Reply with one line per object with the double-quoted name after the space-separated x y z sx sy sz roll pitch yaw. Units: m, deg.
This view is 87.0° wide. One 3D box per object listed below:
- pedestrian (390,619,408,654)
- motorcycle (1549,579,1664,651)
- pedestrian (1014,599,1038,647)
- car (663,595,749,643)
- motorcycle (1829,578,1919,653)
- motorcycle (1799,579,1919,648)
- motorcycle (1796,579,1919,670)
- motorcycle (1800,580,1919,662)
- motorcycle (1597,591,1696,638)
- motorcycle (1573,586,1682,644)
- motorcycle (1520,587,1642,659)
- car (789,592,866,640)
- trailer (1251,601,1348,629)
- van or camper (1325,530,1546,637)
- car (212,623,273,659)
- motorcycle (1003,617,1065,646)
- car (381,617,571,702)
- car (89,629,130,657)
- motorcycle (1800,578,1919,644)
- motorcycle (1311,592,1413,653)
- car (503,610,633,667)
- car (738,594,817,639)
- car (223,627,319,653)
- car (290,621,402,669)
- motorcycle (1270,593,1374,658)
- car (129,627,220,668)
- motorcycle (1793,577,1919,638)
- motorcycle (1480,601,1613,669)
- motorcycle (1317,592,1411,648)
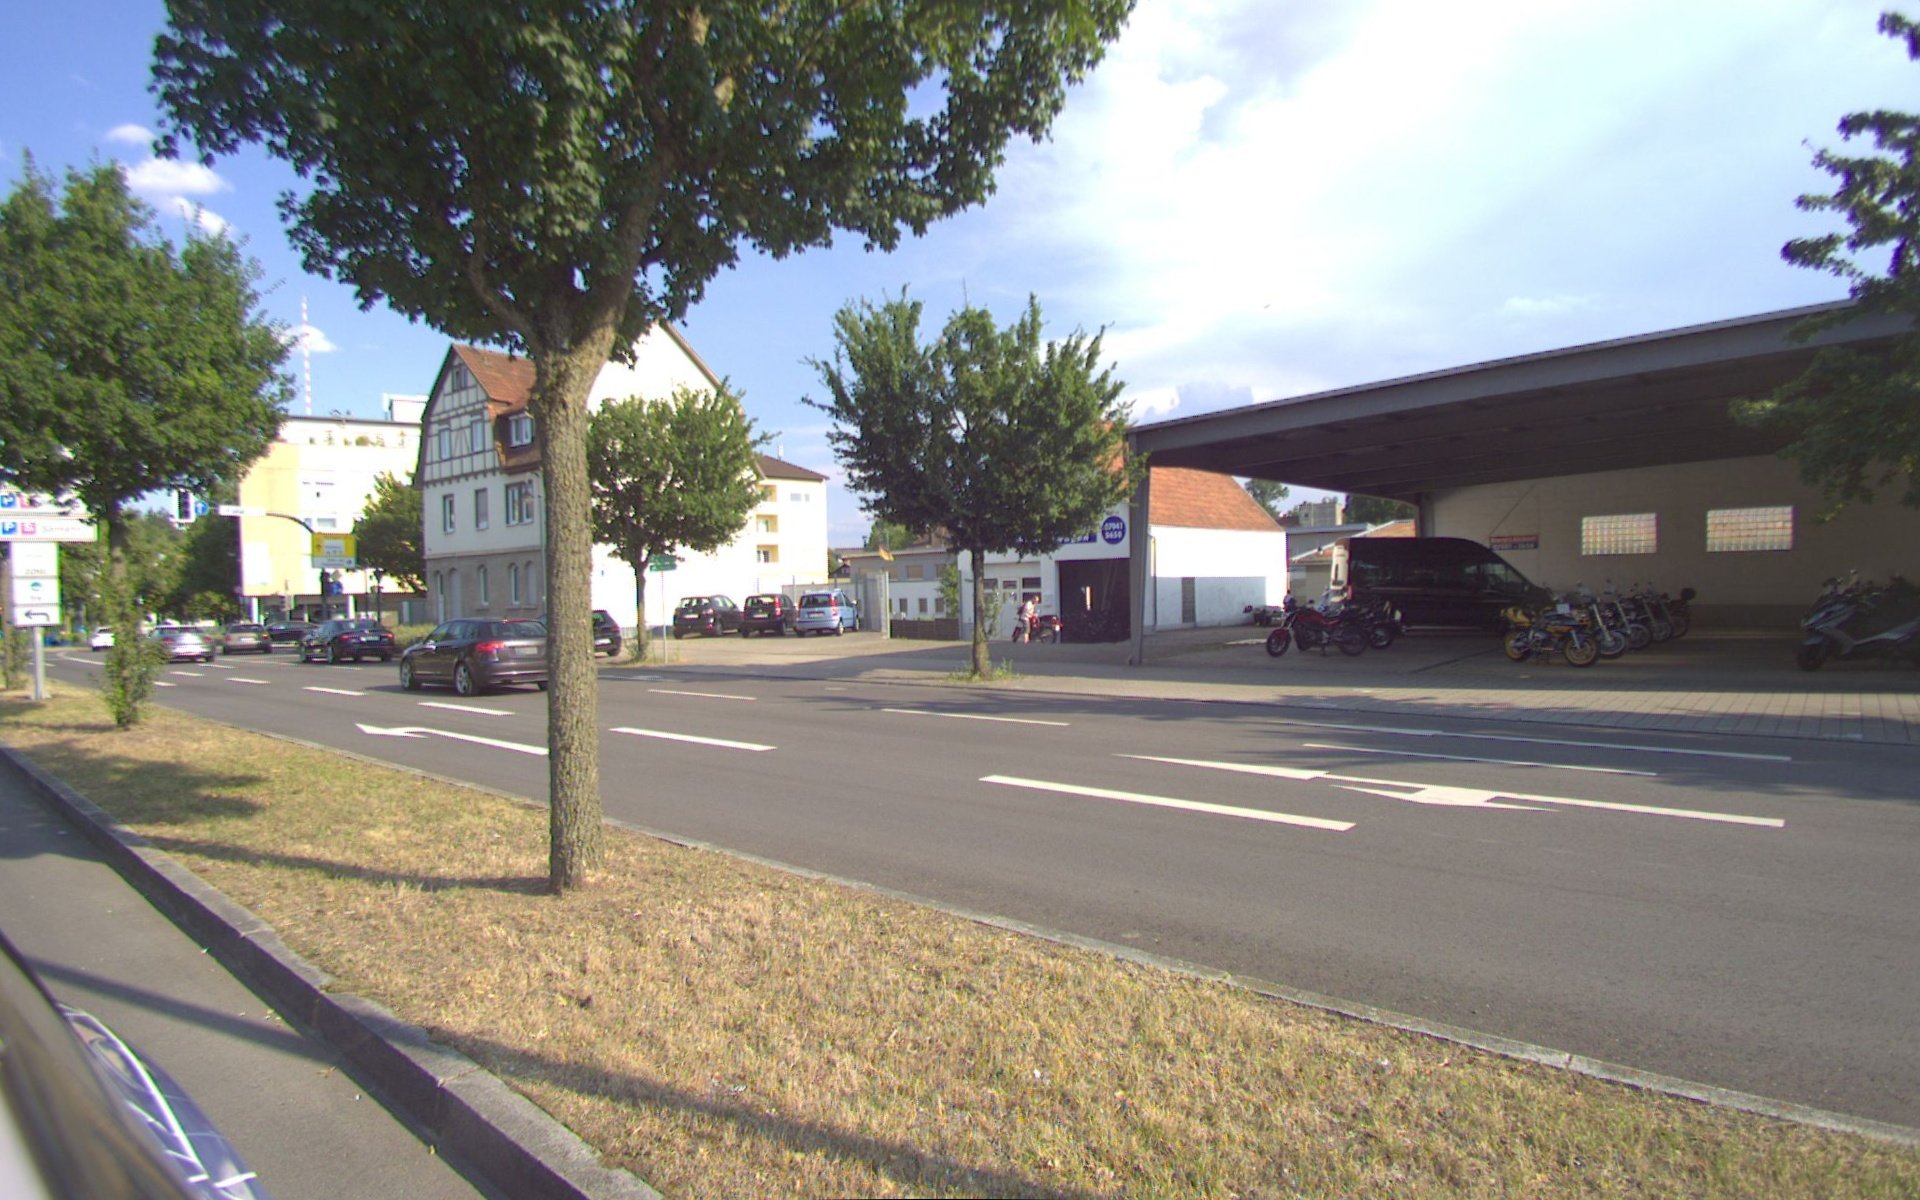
-32.067 2.083 57.878 0.696 1.997 0.583 -1 0 25 "pedestrian"
13.798 0.305 21.695 0.584 1.459 2.161 -1 0 -19 "motorcycle"
2.145 0.725 32.814 0.647 1.535 0.671 -1 0 13 "pedestrian"
-9.400 0.661 37.737 1.747 1.563 3.992 -2 1 7 "car"
17.100 0.272 18.257 2.068 1.317 0.621 -1 0 12 "motorcycle"
17.970 0.267 19.994 2.068 1.317 0.581 -1 0 12 "motorcycle"
13.888 0.360 15.130 2.093 1.317 0.561 -1 0 12 "motorcycle"
15.268 0.340 16.737 2.068 1.317 0.561 -1 0 12 "motorcycle"
17.207 0.355 25.435 0.553 1.131 2.161 -1 0 -19 "motorcycle"
15.439 0.341 23.480 0.636 1.268 2.161 -1 0 -19 "motorcycle"
12.117 0.436 19.843 0.553 1.340 2.161 -1 0 -19 "motorcycle"
-4.601 0.533 35.735 1.746 1.564 3.992 -1 0 7 "car"
12.517 0.529 37.254 2.449 0.831 3.152 -1 2 38 "trailer"
12.766 -0.403 27.471 4.979 2.700 1.995 -1 0 8 "van or camper"
-32.657 1.822 45.994 1.666 1.473 4.716 -1 -1 -43 "car"
2.419 1.030 33.369 2.212 0.927 0.500 -1 0 45 "motorcycle"
-9.211 1.051 19.114 4.186 1.397 1.628 -1 0 40 "car"
-51.167 2.550 60.943 1.778 1.508 3.963 -1 0 -39 "car"
18.960 0.231 21.171 2.068 1.317 0.561 -1 0 12 "motorcycle"
9.025 0.494 22.771 1.982 1.321 0.649 -1 0 5 "motorcycle"
-11.737 1.107 30.159 4.193 1.454 1.816 -1 3 41 "car"
-6.677 0.587 37.418 1.746 1.564 3.992 -1 0 7 "car"
-41.361 2.368 60.818 4.594 1.364 1.770 -1 0 -41 "car"
-20.173 1.428 33.182 4.642 1.432 1.824 -1 0 41 "car"
7.556 0.539 21.187 1.991 1.321 0.665 -1 0 18 "motorcycle"
-28.698 1.696 36.937 4.476 1.359 1.762 -1 0 41 "car"
19.914 0.175 22.526 2.068 1.317 0.561 -1 0 12 "motorcycle"
10.444 0.604 18.130 0.620 1.132 2.161 -1 0 -19 "motorcycle"
9.792 0.486 24.551 1.982 1.321 0.649 -1 0 5 "motorcycle"
